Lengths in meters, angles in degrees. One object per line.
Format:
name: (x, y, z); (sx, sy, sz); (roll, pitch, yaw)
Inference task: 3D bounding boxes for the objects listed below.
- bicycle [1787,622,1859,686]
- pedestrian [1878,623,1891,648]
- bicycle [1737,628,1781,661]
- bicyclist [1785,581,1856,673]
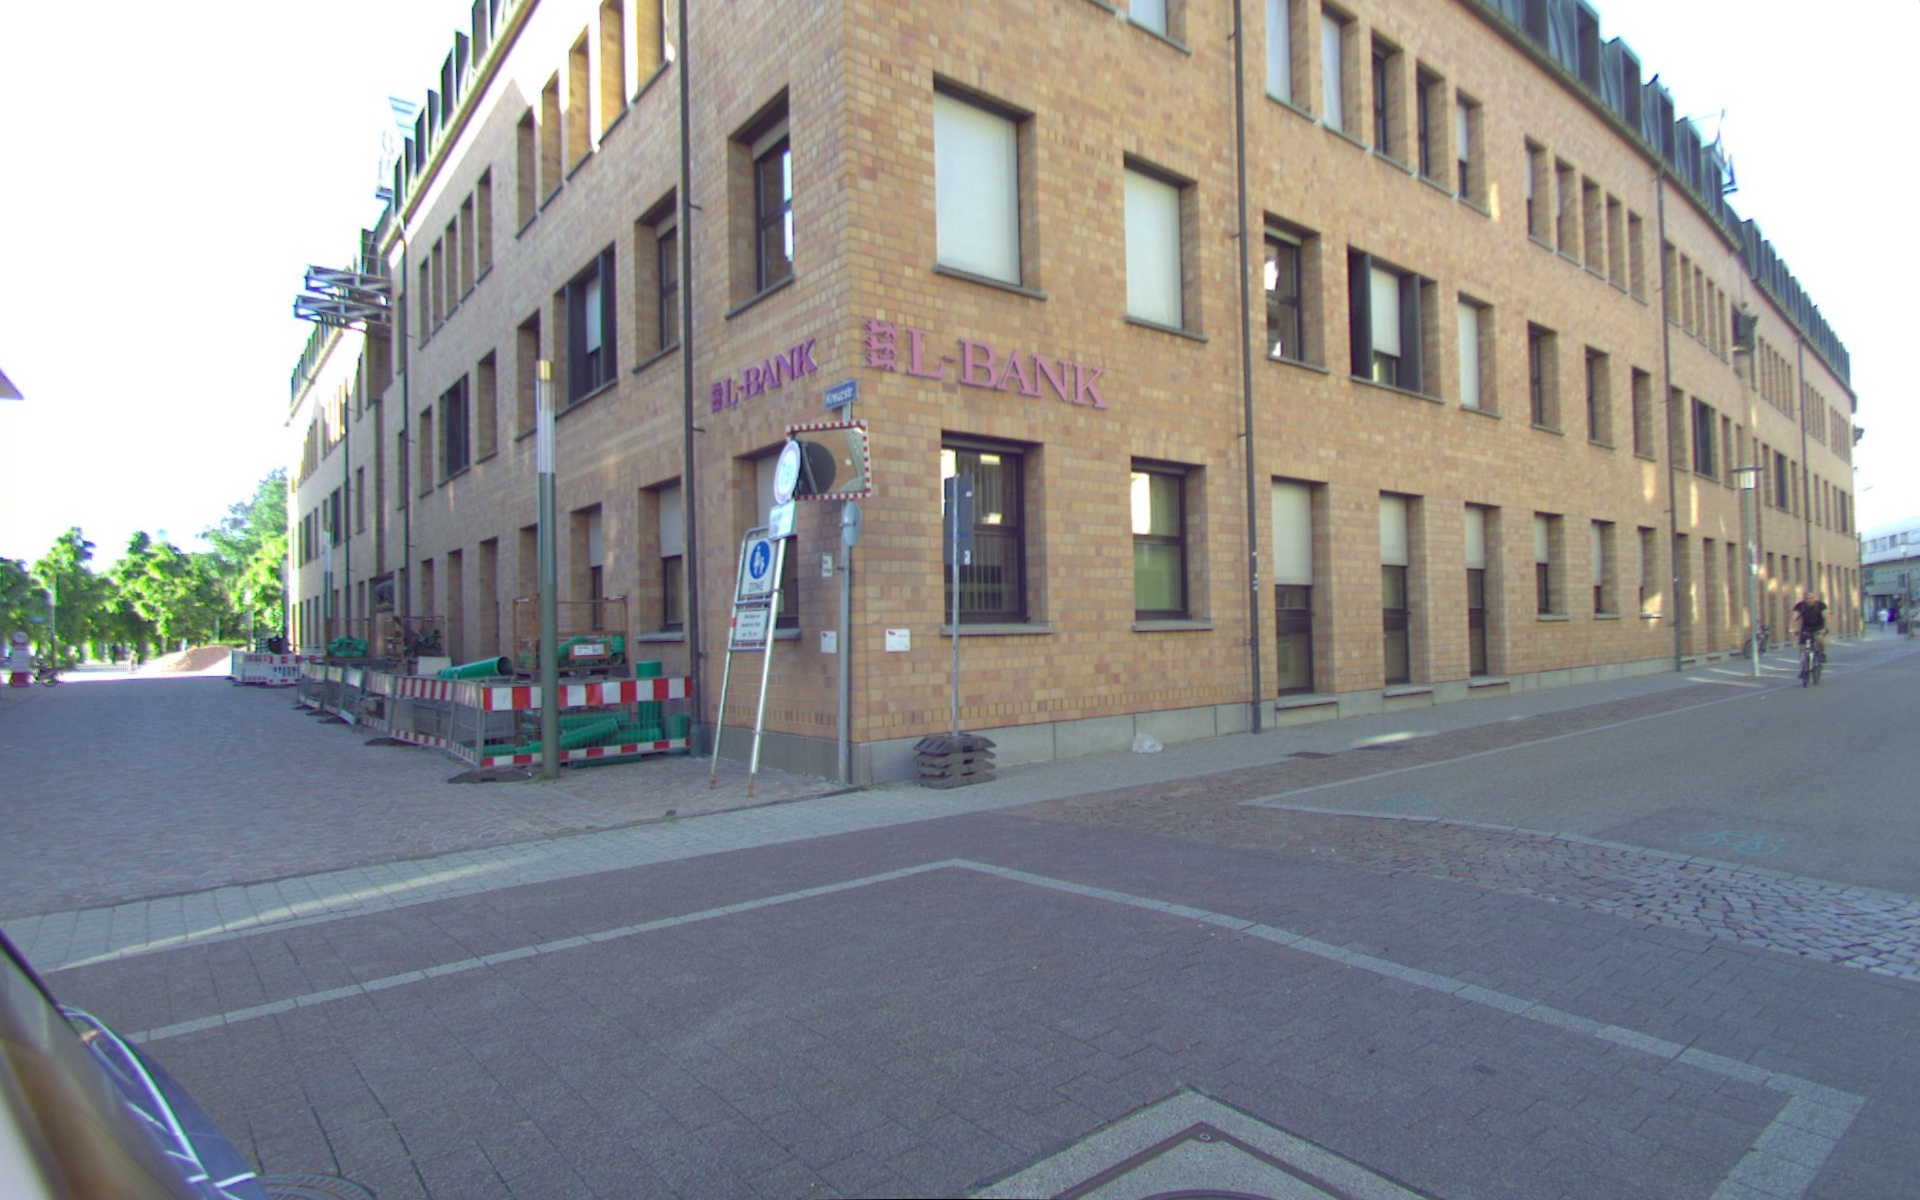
bicycle: (16.279, 1.001, 19.080); (1.799, 1.112, 0.706); (0, -6, -42)
pedestrian: (58.333, 2.235, 63.854); (0.399, 1.556, 0.544); (0, -1, -41)
bicycle: (23.643, 1.298, 29.931); (2.518, 0.888, 0.644); (0, -1, -43)
bicyclist: (16.230, 0.511, 19.084); (0.942, 1.668, 0.774); (1, -5, -42)
